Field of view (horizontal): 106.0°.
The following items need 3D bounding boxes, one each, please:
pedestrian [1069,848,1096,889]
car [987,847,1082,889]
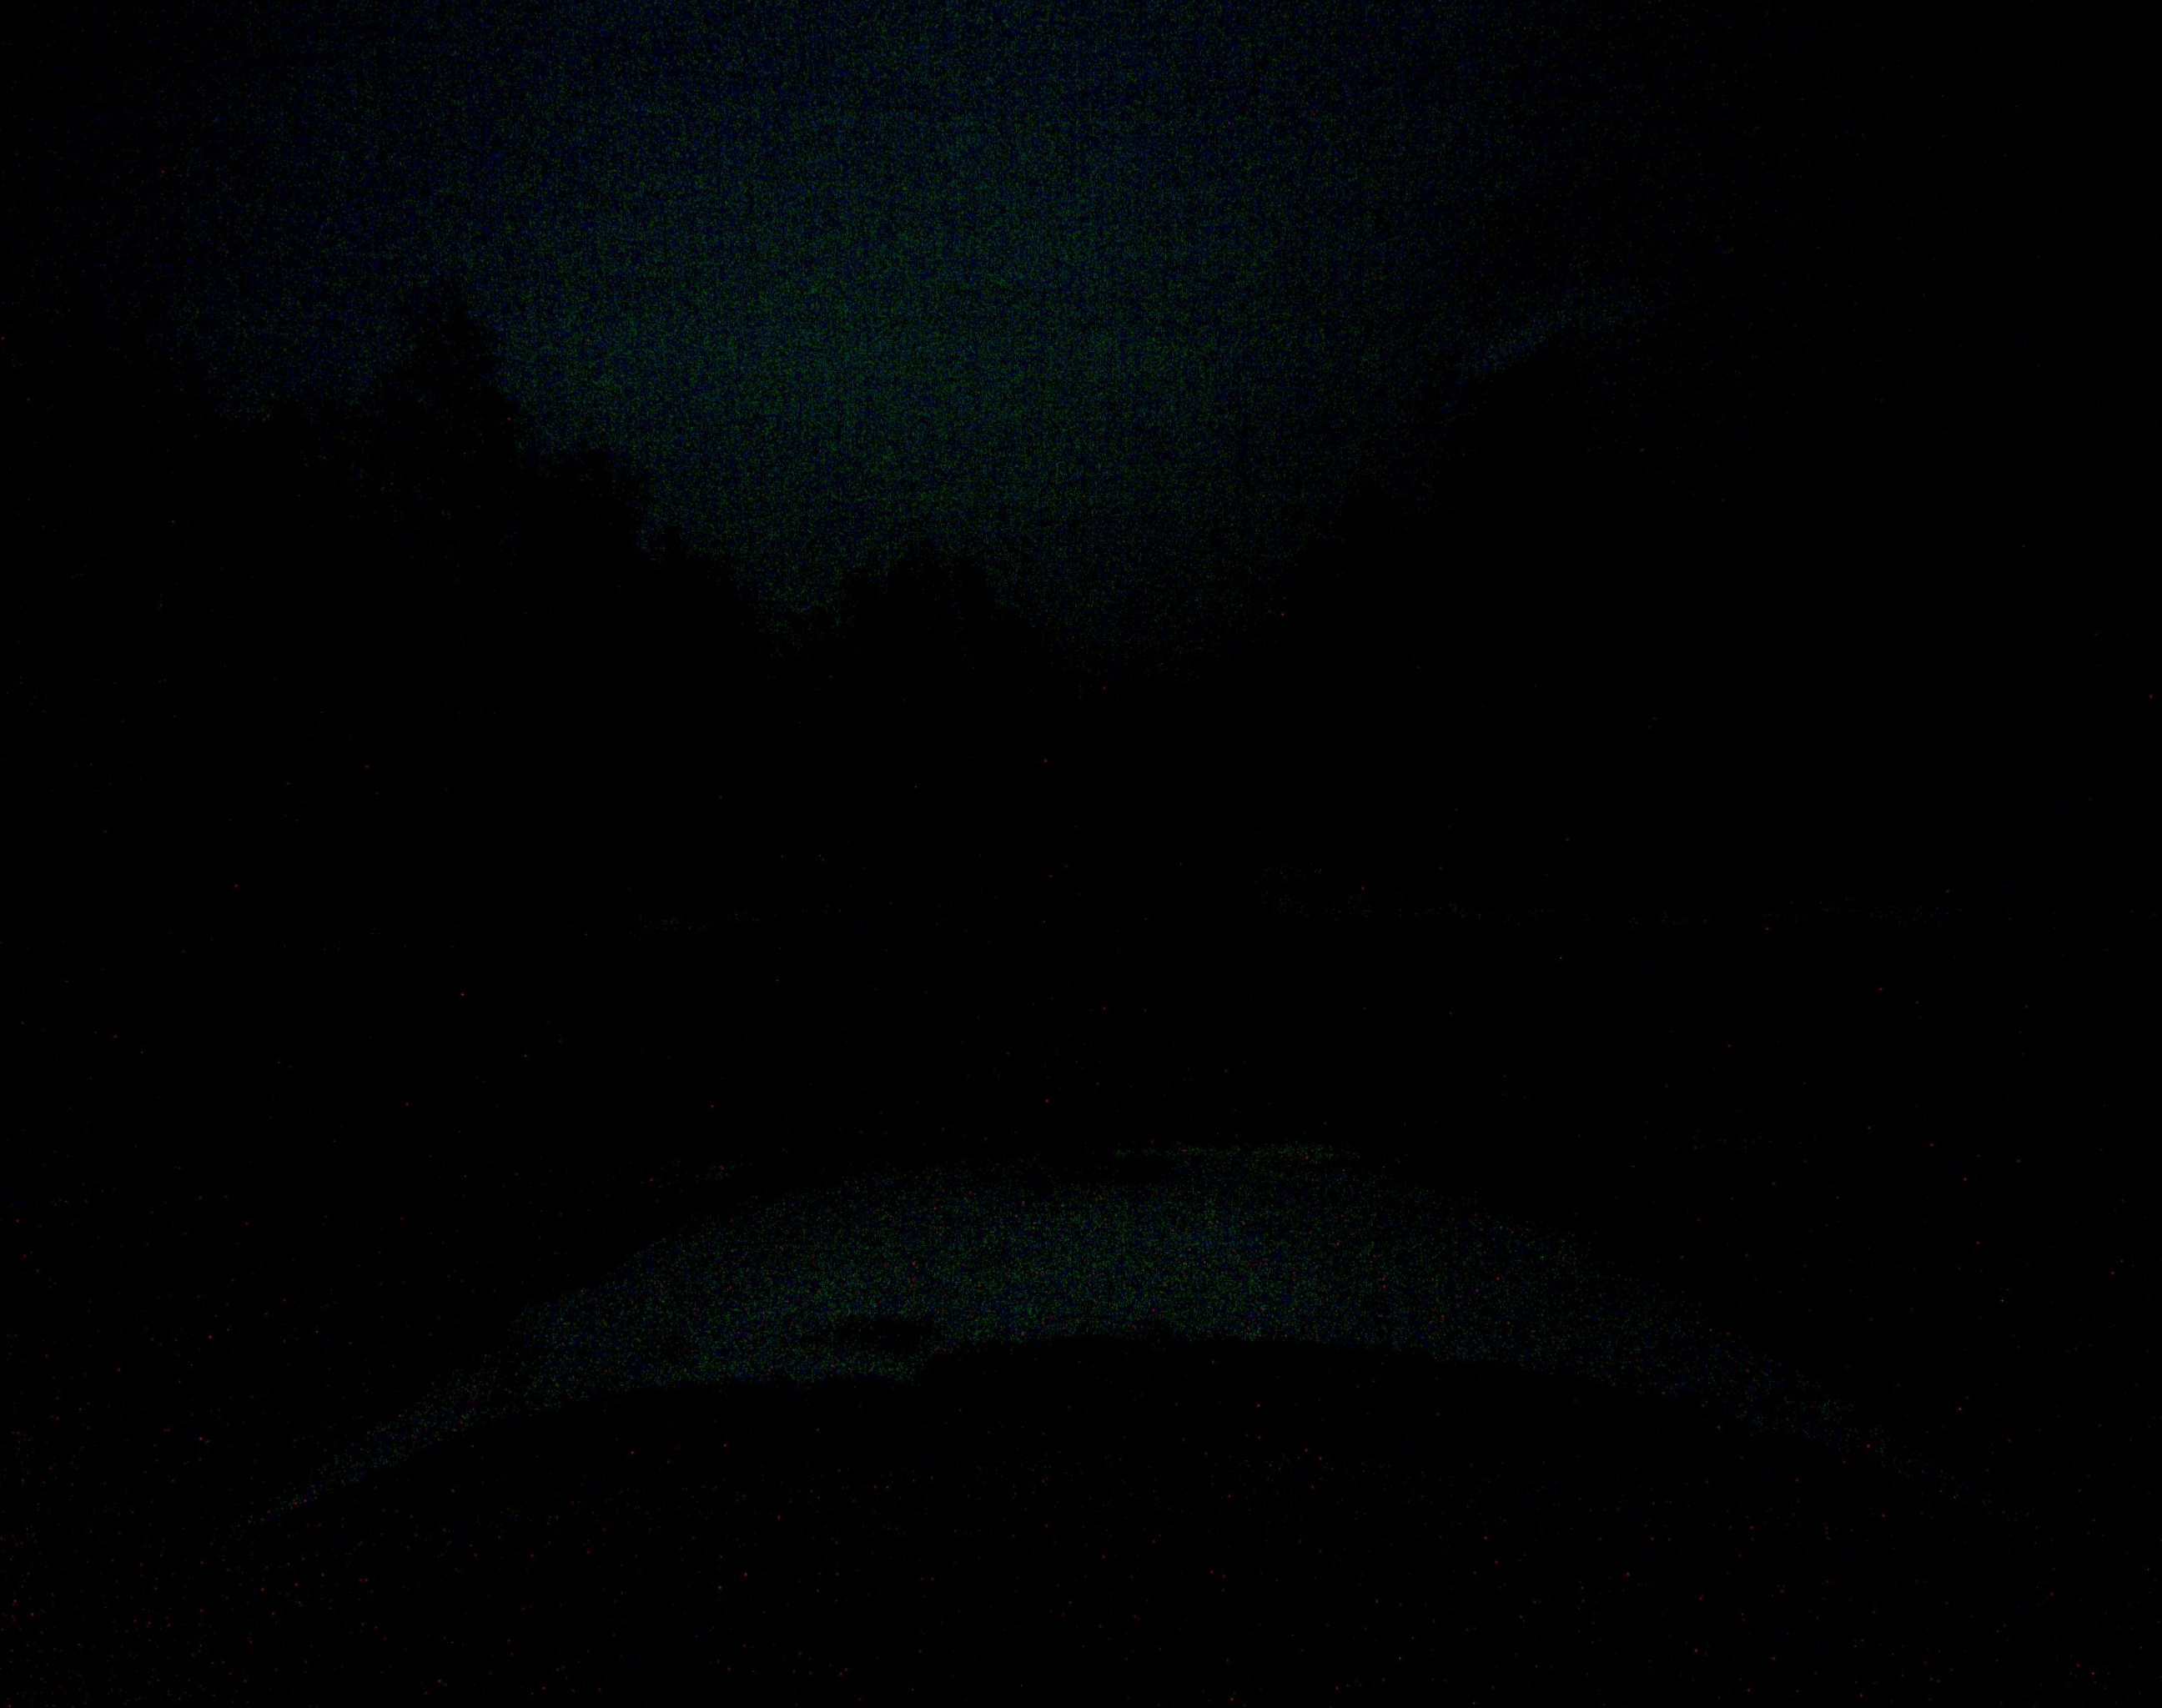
[{"bbox_3d":[0.078,0.668,36.752,0.952,1.828,0.930,0,-2,22],"label":"pedestrian"},{"bbox_3d":[-2.151,0.648,37.916,3.915,1.881,2.009,0,-1,18],"label":"car"}]
